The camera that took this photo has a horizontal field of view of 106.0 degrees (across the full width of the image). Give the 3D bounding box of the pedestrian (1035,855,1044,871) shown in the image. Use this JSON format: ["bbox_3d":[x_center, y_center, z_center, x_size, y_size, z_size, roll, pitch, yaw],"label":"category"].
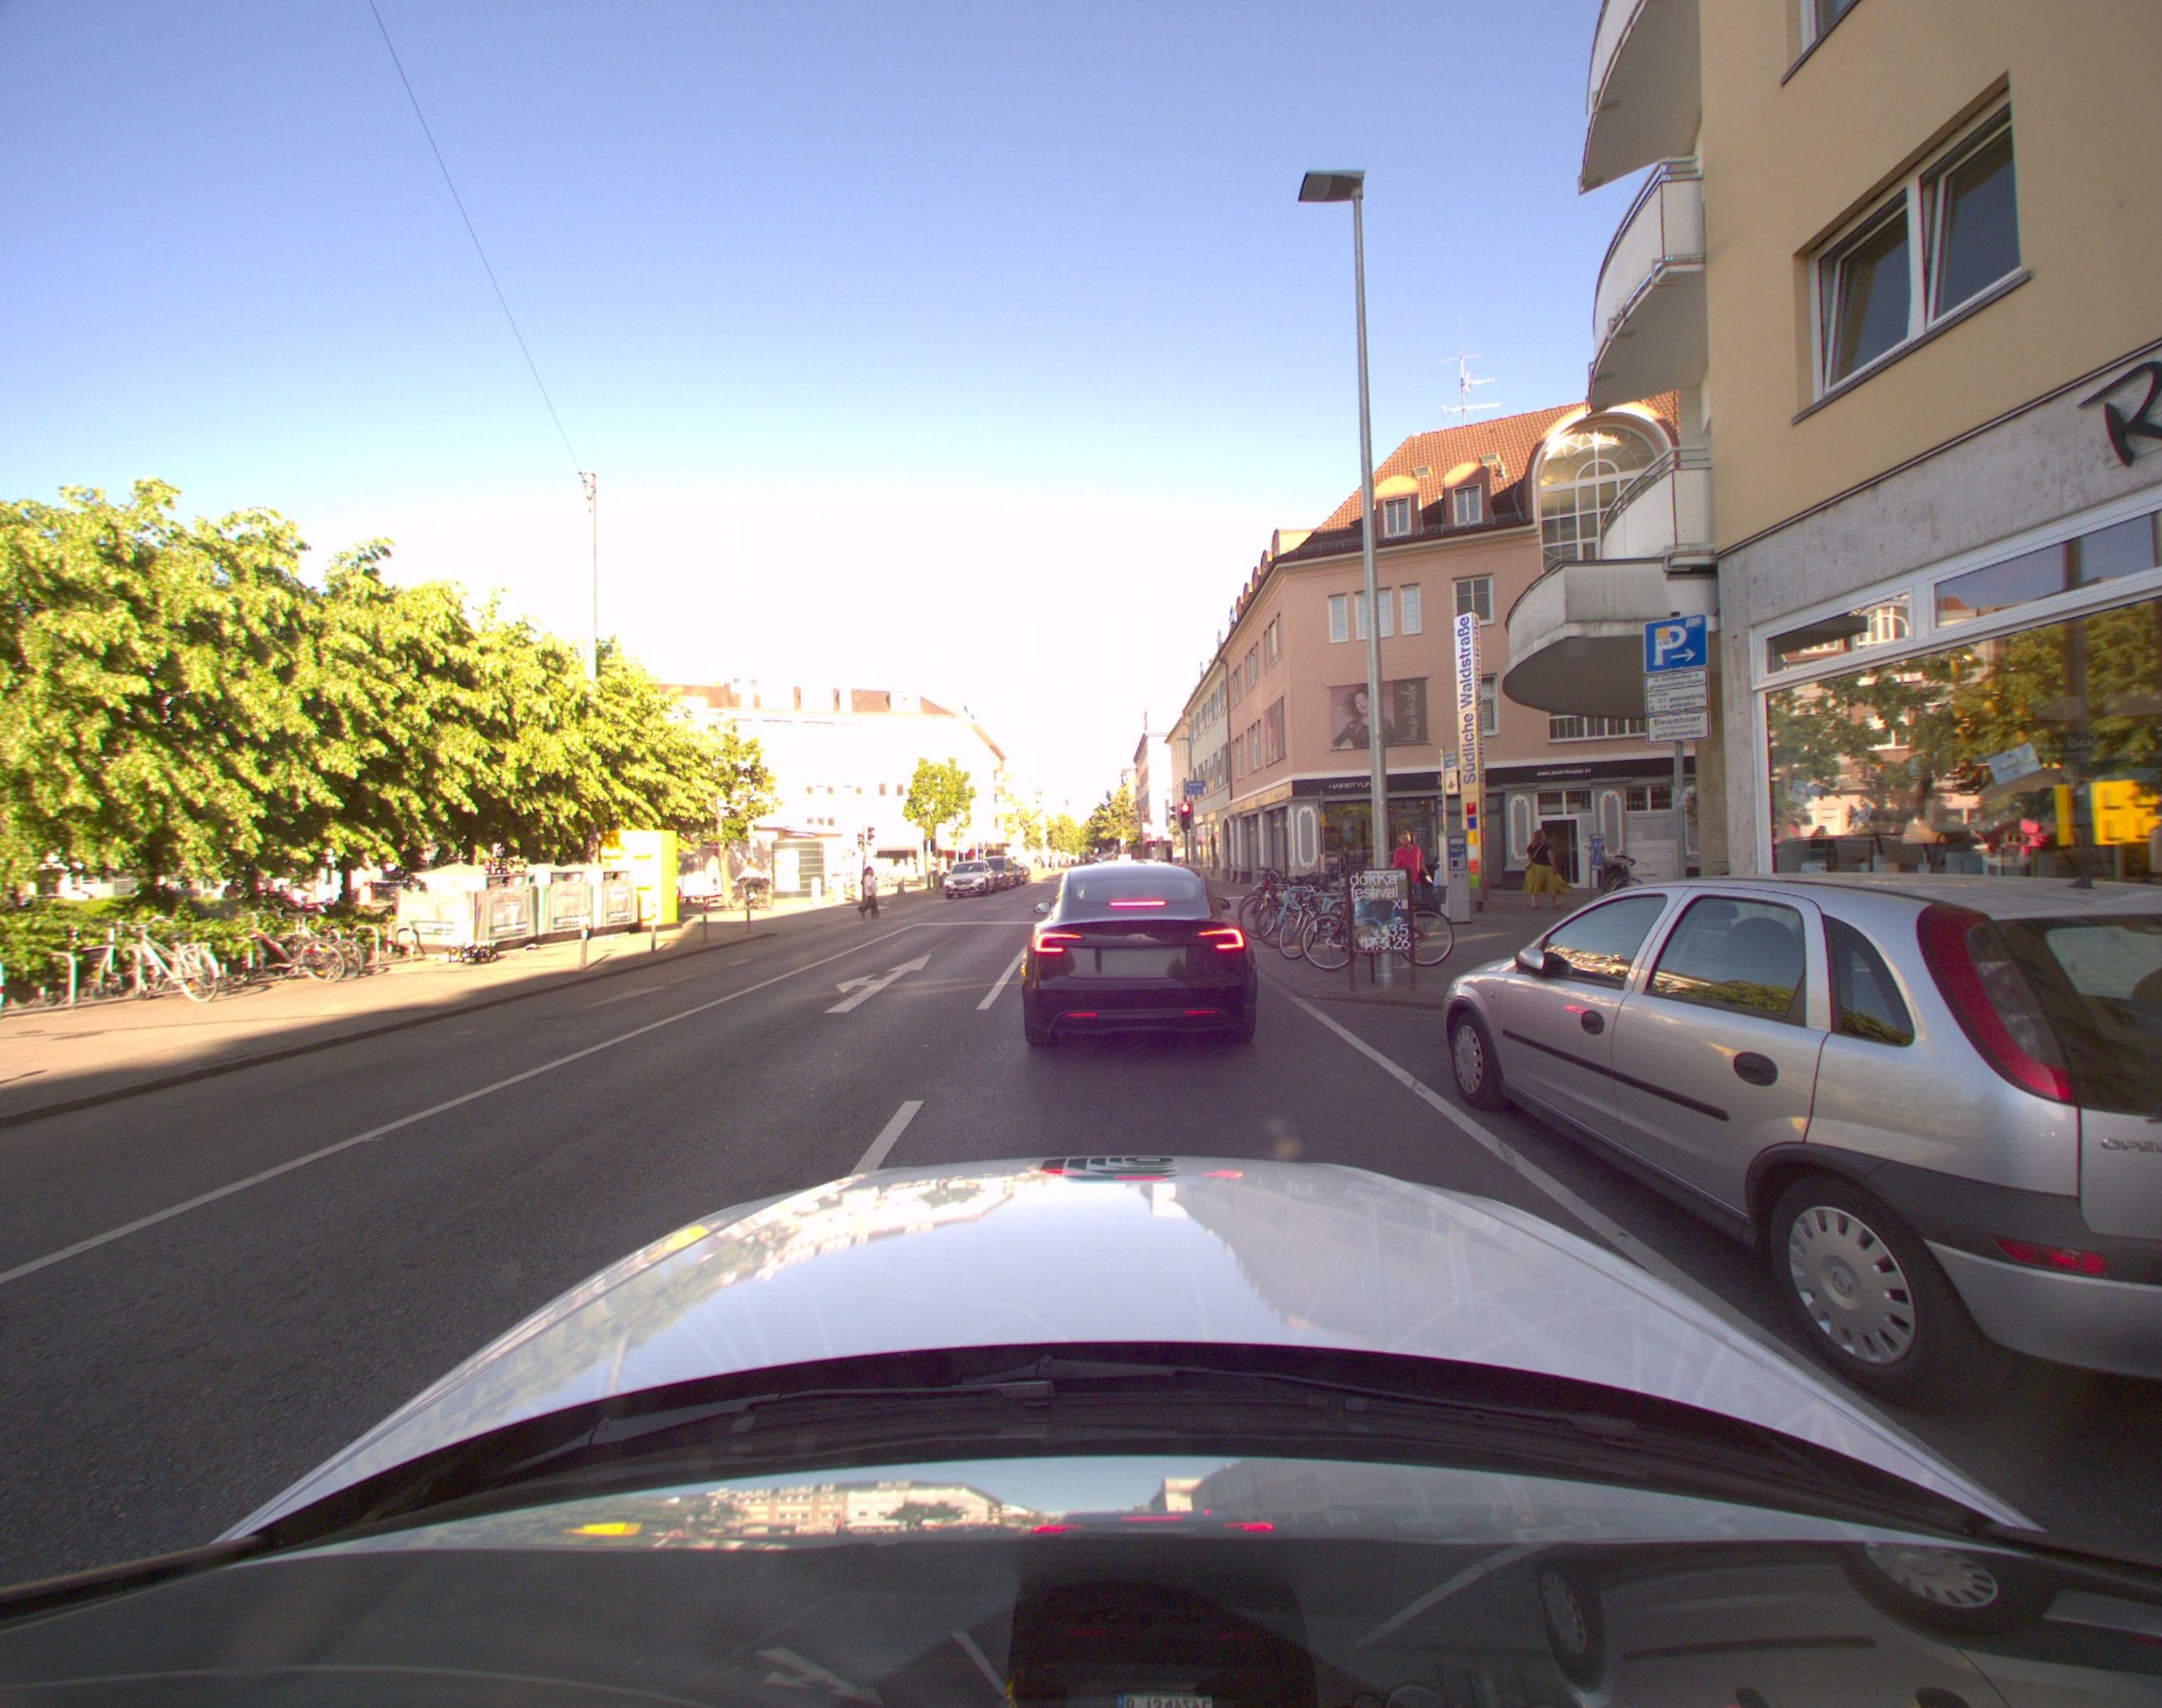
[{"bbox_3d":[-4.871,1.102,95.025,0.726,1.868,0.796,-1,-1,30],"label":"pedestrian"}]

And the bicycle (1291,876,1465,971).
[{"bbox_3d":[3.635,0.846,10.081,1.875,1.044,0.653,-2,0,3],"label":"bicycle"}]

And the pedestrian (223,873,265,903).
[{"bbox_3d":[-35.306,1.425,34.359,0.857,1.214,0.904,-1,-1,17],"label":"pedestrian"}]

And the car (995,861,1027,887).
[{"bbox_3d":[-4.258,1.207,50.044,1.455,1.430,3.607,-5,-1,2],"label":"car"}]

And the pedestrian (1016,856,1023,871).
[{"bbox_3d":[-7.315,1.138,97.319,0.734,1.868,0.787,0,-1,-15],"label":"pedestrian"}]

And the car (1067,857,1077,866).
[{"bbox_3d":[-2.001,1.781,187.427,2.124,1.970,4.135,-1,0,2],"label":"car"}]

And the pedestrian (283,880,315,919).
[{"bbox_3d":[-31.126,1.795,32.416,0.827,1.520,0.782,-1,-1,38],"label":"pedestrian"}]

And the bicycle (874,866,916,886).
[{"bbox_3d":[-12.001,1.403,52.574,2.535,1.251,0.942,0,-1,-1],"label":"bicycle"}]

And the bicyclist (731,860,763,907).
[{"bbox_3d":[-11.705,1.024,28.549,0.821,1.614,0.581,0,0,9],"label":"bicyclist"}]

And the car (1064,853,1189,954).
[{"bbox_3d":[0.741,0.750,14.304,1.843,1.482,4.453,0,0,2],"label":"car"}]

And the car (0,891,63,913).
[{"bbox_3d":[-68.017,3.097,52.453,2.757,1.266,1.234,0,-1,-23],"label":"car"}]

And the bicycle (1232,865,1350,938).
[{"bbox_3d":[3.496,0.776,13.640,1.806,1.152,0.653,-1,0,3],"label":"bicycle"}]

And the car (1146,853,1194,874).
[{"bbox_3d":[8.144,0.875,74.648,4.006,1.867,1.686,-1,0,-20],"label":"car"}]

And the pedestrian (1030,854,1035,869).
[{"bbox_3d":[-6.218,0.980,104.222,0.693,1.868,0.658,0,-1,-3],"label":"pedestrian"}]

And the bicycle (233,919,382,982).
[{"bbox_3d":[-11.462,1.426,12.099,1.663,0.859,0.469,0,-1,-5],"label":"bicycle"}]

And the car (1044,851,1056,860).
[{"bbox_3d":[-7.168,0.294,188.730,2.266,2.014,4.720,0,-1,3],"label":"car"}]

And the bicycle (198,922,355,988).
[{"bbox_3d":[-11.432,1.425,11.600,1.667,0.859,0.469,0,-1,-5],"label":"bicycle"}]

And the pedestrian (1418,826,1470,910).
[{"bbox_3d":[8.377,0.312,18.842,0.678,1.849,0.894,-5,-1,3],"label":"pedestrian"}]

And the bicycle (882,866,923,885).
[{"bbox_3d":[-12.055,1.423,55.002,2.535,1.251,0.942,0,-1,-1],"label":"bicycle"}]

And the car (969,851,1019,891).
[{"bbox_3d":[-4.497,0.837,42.918,1.938,1.947,4.822,-1,0,2],"label":"car"}]

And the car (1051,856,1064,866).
[{"bbox_3d":[-4.862,1.326,166.806,2.405,1.970,4.679,-1,0,2],"label":"car"}]

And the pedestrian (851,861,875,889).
[{"bbox_3d":[-12.557,1.203,47.023,1.263,1.611,1.091,0,-1,-13],"label":"pedestrian"}]

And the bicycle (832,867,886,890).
[{"bbox_3d":[-12.395,1.373,45.585,2.772,1.274,0.933,0,-1,-2],"label":"bicycle"}]

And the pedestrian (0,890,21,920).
[{"bbox_3d":[-66.767,3.147,50.254,1.305,1.842,1.091,0,-1,-31],"label":"pedestrian"}]

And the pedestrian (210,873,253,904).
[{"bbox_3d":[-34.823,1.415,33.396,0.926,1.214,0.873,-1,-1,17],"label":"pedestrian"}]

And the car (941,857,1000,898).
[{"bbox_3d":[-4.885,1.018,36.596,1.818,1.565,4.302,-5,-1,2],"label":"car"}]

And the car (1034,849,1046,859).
[{"bbox_3d":[-9.023,-0.009,180.135,2.266,2.014,4.720,0,-1,3],"label":"car"}]

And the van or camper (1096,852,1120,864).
[{"bbox_3d":[5.630,0.855,167.658,4.832,2.438,1.851,-1,0,1],"label":"van or camper"}]

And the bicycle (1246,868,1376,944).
[{"bbox_3d":[3.518,0.792,12.565,1.806,1.102,0.653,-1,0,3],"label":"bicycle"}]

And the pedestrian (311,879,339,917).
[{"bbox_3d":[-30.600,1.754,32.956,0.553,1.508,0.611,-1,-1,17],"label":"pedestrian"}]

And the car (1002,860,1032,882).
[{"bbox_3d":[-4.429,1.156,57.005,1.688,1.390,3.915,-3,-1,0],"label":"car"}]

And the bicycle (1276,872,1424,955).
[{"bbox_3d":[3.655,0.799,11.153,1.806,1.060,0.653,-1,0,3],"label":"bicycle"}]

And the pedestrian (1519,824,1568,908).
[{"bbox_3d":[10.052,0.257,17.697,0.714,1.754,0.793,-5,-1,38],"label":"pedestrian"}]

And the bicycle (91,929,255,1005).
[{"bbox_3d":[-11.462,1.419,10.303,1.560,0.886,0.470,0,-1,1],"label":"bicycle"}]

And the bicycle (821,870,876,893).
[{"bbox_3d":[-12.327,1.440,43.242,2.652,1.195,0.942,0,-1,-1],"label":"bicycle"}]

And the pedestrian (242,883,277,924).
[{"bbox_3d":[-32.381,1.931,32.114,0.928,1.520,0.924,0,-1,-43],"label":"pedestrian"}]

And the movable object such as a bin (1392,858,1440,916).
[{"bbox_3d":[6.744,0.651,16.420,0.633,1.103,0.728,-4,-1,5],"label":"movable object such as a bin"}]

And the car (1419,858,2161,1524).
[{"bbox_3d":[2.960,0.739,3.544,1.578,1.426,3.581,0,-1,2],"label":"car"}]

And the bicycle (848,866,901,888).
[{"bbox_3d":[-12.156,1.366,47.981,2.867,1.270,0.942,0,-1,-1],"label":"bicycle"}]

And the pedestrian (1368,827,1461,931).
[{"bbox_3d":[5.741,0.419,14.077,1.059,1.719,1.109,0,-1,-11],"label":"pedestrian"}]

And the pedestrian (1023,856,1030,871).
[{"bbox_3d":[-6.490,1.134,97.518,0.734,1.868,0.787,0,-1,-15],"label":"pedestrian"}]

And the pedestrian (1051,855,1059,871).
[{"bbox_3d":[-3.031,1.095,95.864,0.775,1.868,1.005,0,-1,-12],"label":"pedestrian"}]

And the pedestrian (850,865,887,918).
[{"bbox_3d":[-6.347,1.106,24.354,0.919,1.543,0.694,0,-1,-4],"label":"pedestrian"}]

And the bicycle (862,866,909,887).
[{"bbox_3d":[-12.056,1.389,50.299,2.655,1.259,0.942,0,-1,-1],"label":"bicycle"}]

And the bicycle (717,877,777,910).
[{"bbox_3d":[-11.708,1.376,28.554,1.942,1.158,0.577,0,0,9],"label":"bicycle"}]

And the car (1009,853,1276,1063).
[{"bbox_3d":[0.495,0.740,7.881,1.843,1.447,4.453,0,0,2],"label":"car"}]

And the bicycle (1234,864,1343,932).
[{"bbox_3d":[3.736,0.784,14.769,1.806,1.152,0.653,-1,0,3],"label":"bicycle"}]

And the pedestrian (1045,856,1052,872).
[{"bbox_3d":[-3.835,1.221,95.991,0.695,1.868,0.906,0,-1,-12],"label":"pedestrian"}]
